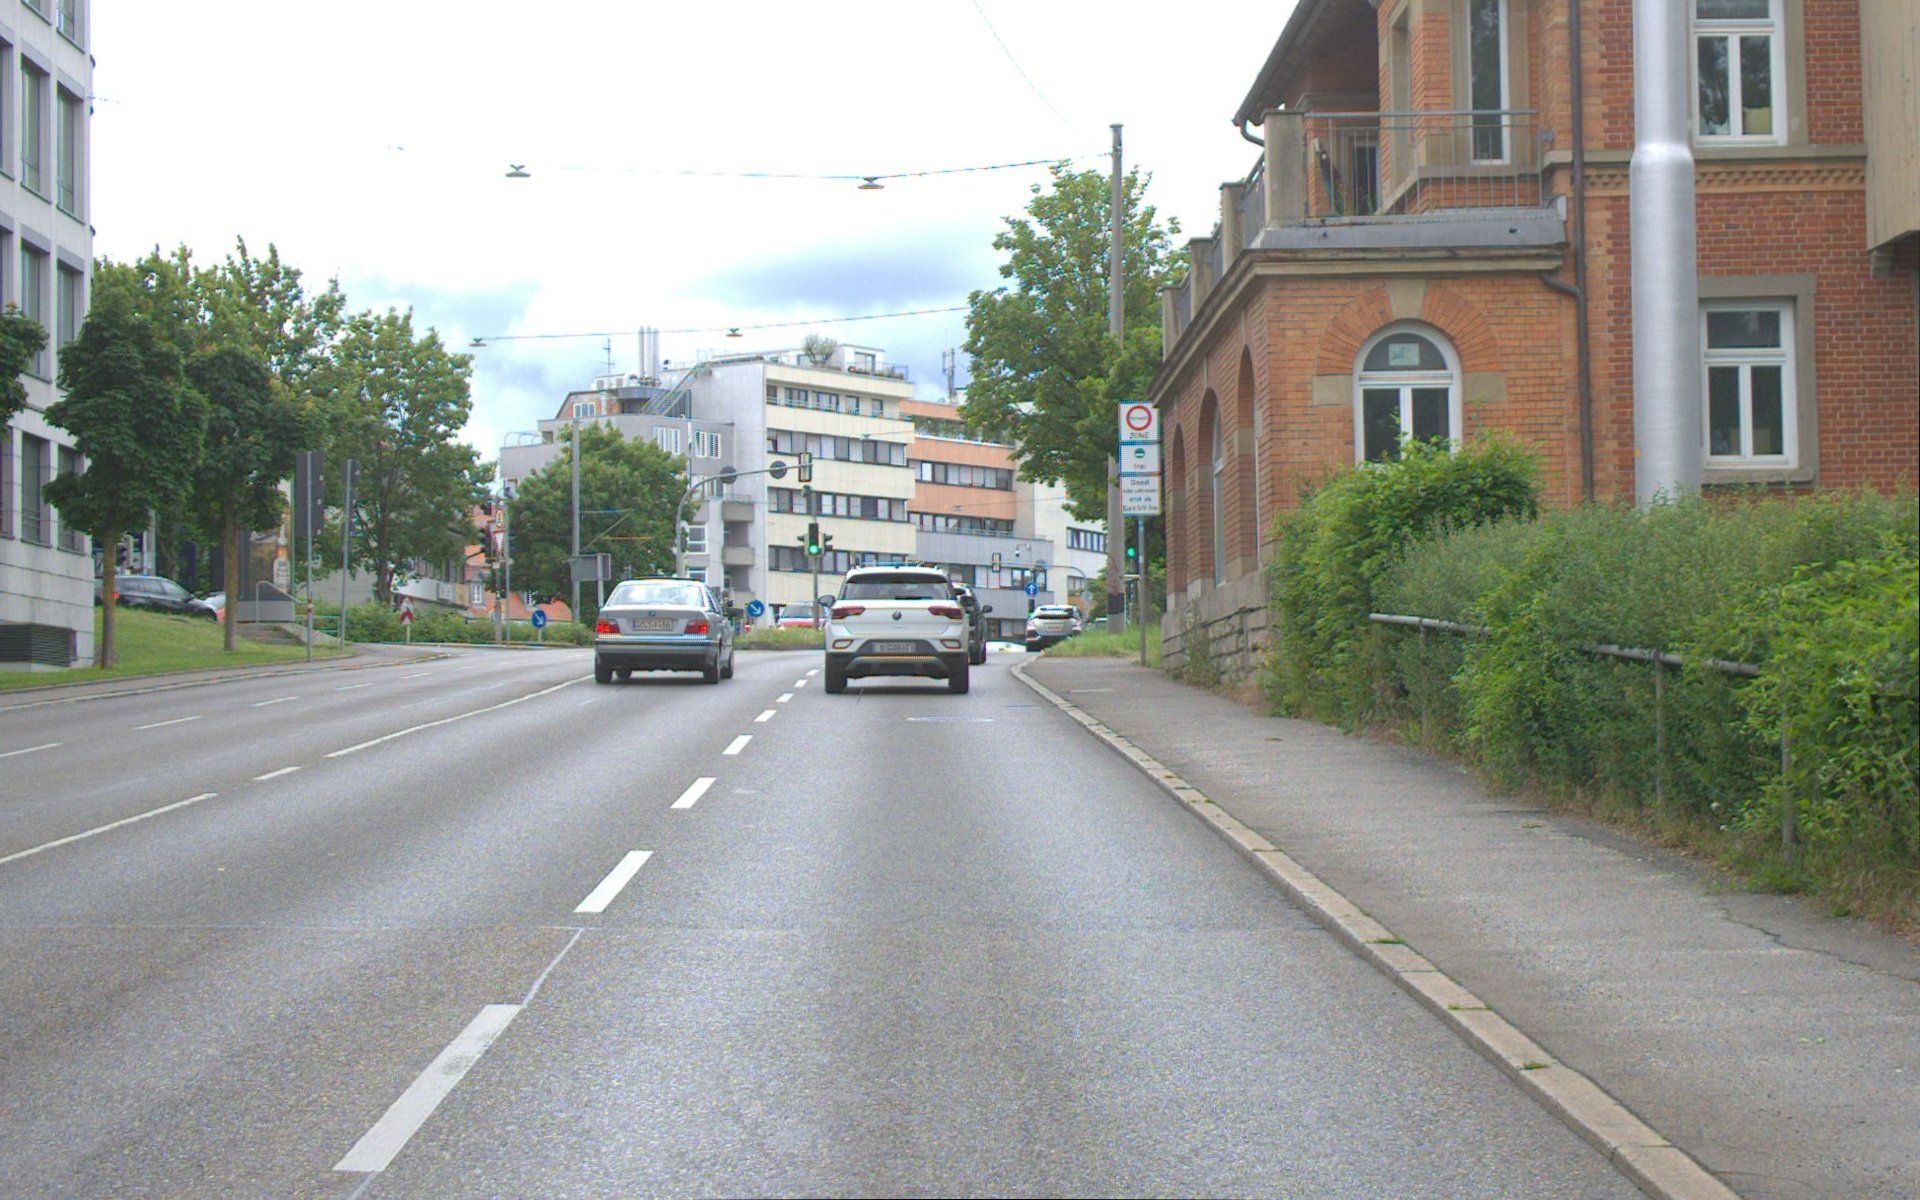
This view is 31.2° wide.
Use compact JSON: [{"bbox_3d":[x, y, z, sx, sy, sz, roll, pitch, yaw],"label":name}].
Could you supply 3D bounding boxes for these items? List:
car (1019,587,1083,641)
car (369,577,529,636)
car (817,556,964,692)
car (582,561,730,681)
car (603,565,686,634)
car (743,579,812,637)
[{"bbox_3d":[2.780,0.407,104.614,1.770,1.565,4.284,-1,0,4],"label":"car"},{"bbox_3d":[-13.621,0.171,91.846,1.780,1.539,3.990,0,0,43],"label":"car"},{"bbox_3d":[-0.861,0.266,43.042,1.699,1.543,3.736,2,1,-1],"label":"car"},{"bbox_3d":[-4.044,0.252,46.118,1.699,1.511,3.736,0,1,-1],"label":"car"},{"bbox_3d":[-8.871,-0.025,96.954,1.869,1.783,4.654,-3,0,0],"label":"car"},{"bbox_3d":[-5.652,0.234,107.055,1.869,1.696,4.429,-3,0,0],"label":"car"}]
